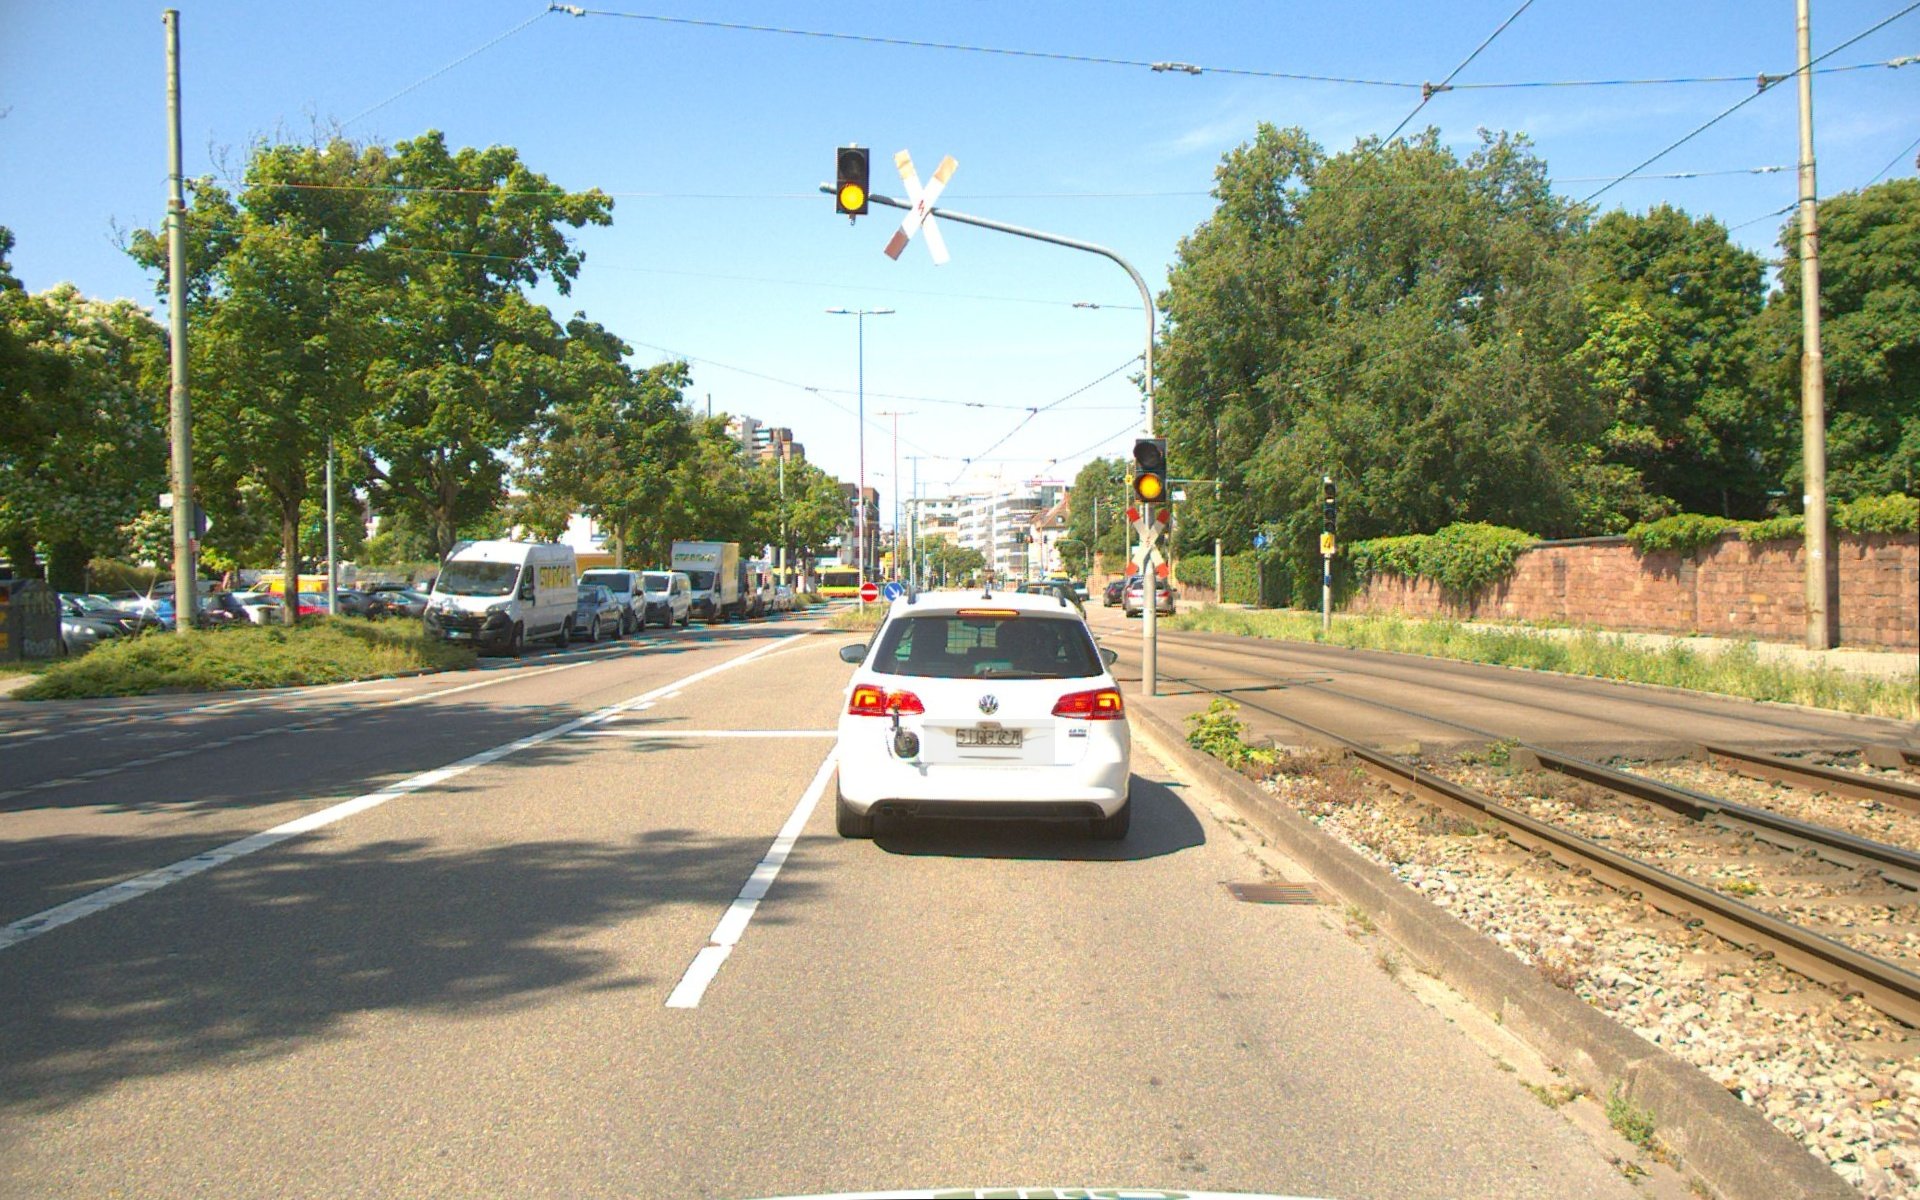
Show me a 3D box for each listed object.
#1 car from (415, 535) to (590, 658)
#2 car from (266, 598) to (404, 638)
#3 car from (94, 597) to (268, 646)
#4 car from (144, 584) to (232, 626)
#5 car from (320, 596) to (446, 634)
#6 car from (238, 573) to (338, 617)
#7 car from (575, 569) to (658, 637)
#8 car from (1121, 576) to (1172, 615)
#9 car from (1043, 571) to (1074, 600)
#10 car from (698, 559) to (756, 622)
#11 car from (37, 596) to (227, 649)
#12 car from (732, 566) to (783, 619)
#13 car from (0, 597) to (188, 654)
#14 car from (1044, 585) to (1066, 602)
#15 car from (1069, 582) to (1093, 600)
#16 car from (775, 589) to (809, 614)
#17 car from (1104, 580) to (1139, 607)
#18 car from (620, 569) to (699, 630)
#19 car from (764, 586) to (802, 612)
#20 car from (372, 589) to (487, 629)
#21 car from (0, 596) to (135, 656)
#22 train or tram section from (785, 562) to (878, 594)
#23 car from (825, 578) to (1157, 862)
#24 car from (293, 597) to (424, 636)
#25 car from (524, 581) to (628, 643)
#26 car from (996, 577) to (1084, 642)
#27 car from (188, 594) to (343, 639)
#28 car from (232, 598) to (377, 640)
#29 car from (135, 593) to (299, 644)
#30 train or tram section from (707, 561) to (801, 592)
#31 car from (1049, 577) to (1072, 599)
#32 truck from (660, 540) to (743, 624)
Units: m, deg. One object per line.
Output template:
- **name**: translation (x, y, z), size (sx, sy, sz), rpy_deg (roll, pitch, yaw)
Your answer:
- **car**: translation (-10.480, -0.119, 38.499), size (2.016, 2.544, 6.309), rpy_deg (2, 1, 2)
- **car**: translation (-20.884, 0.597, 55.334), size (3.904, 1.246, 1.772), rpy_deg (-1, 1, 2)
- **car**: translation (-21.227, 0.576, 45.162), size (3.904, 1.246, 1.772), rpy_deg (-1, 1, 2)
- **car**: translation (-36.281, 0.210, 77.775), size (3.354, 1.909, 1.552), rpy_deg (-1, 0, -2)
- **car**: translation (-20.856, 0.535, 59.848), size (3.904, 1.246, 1.772), rpy_deg (-1, 1, 2)
- **car**: translation (-33.602, -0.258, 82.826), size (4.175, 2.049, 1.997), rpy_deg (2, 0, -6)
- **car**: translation (-10.607, 0.049, 51.415), size (1.807, 1.971, 5.190), rpy_deg (-1, 1, -4)
- **car**: translation (7.412, -0.199, 65.399), size (1.821, 1.441, 4.328), rpy_deg (2, 1, 8)
- **car**: translation (9.042, -1.285, 152.402), size (2.413, 2.542, 5.909), rpy_deg (2, 0, -1)
- **car**: translation (-10.400, -0.431, 74.093), size (1.806, 2.715, 5.003), rpy_deg (-1, 1, 0)
- **car**: translation (-20.935, 0.565, 41.916), size (3.904, 1.246, 1.772), rpy_deg (-1, 1, 2)
- **car**: translation (-10.098, -0.390, 82.869), size (1.806, 2.538, 5.857), rpy_deg (-1, 1, 0)
- **car**: translation (-20.669, 0.593, 39.174), size (3.906, 1.246, 1.771), rpy_deg (-1, 1, -2)
- **car**: translation (9.340, -0.599, 162.480), size (1.953, 1.624, 4.000), rpy_deg (2, 0, 0)
- **car**: translation (9.295, -0.688, 127.092), size (1.549, 1.369, 3.453), rpy_deg (2, 0, -1)
- **car**: translation (-10.404, 0.071, 102.575), size (1.744, 1.458, 4.037), rpy_deg (-1, 1, 0)
- **car**: translation (8.992, -0.360, 92.495), size (1.709, 1.432, 3.914), rpy_deg (2, 1, 2)
- **car**: translation (-10.475, -0.045, 58.038), size (1.806, 1.994, 5.134), rpy_deg (-1, 1, 0)
- **car**: translation (-10.391, -0.077, 97.245), size (1.806, 1.458, 4.037), rpy_deg (-1, 1, 0)
- **car**: translation (-20.805, 0.356, 64.987), size (3.904, 1.469, 1.772), rpy_deg (-1, 1, 2)
- **car**: translation (-20.716, 0.583, 36.667), size (3.906, 1.246, 1.771), rpy_deg (-1, 1, -2)
- **train or tram section**: translation (-14.239, -2.423, 182.474), size (11.037, 3.309, 2.302), rpy_deg (2, 0, 33)
- **car**: translation (0.131, 0.615, 10.758), size (1.732, 1.471, 3.912), rpy_deg (1, 1, -1)
- **car**: translation (-20.962, 0.560, 57.728), size (3.904, 1.246, 1.772), rpy_deg (-1, 1, 2)
- **car**: translation (-10.279, 0.284, 44.563), size (1.806, 1.543, 4.197), rpy_deg (-1, 1, 0)
- **car**: translation (1.934, 0.186, 39.056), size (1.709, 1.412, 3.916), rpy_deg (1, 1, 8)
- **car**: translation (-21.042, 0.493, 50.207), size (3.904, 1.286, 1.772), rpy_deg (-1, 1, 2)
- **car**: translation (-20.925, 0.584, 52.880), size (3.904, 1.246, 1.772), rpy_deg (-1, 1, 2)
- **car**: translation (-21.363, 0.509, 47.643), size (3.904, 1.373, 1.772), rpy_deg (-1, 1, 2)
- **train or tram section**: translation (-23.294, -2.668, 187.053), size (10.550, 3.309, 2.309), rpy_deg (2, 0, 20)
- **car**: translation (8.613, -0.990, 141.767), size (1.656, 1.844, 3.453), rpy_deg (2, 0, -1)
- **truck**: translation (-10.305, -0.727, 66.503), size (2.308, 3.177, 6.890), rpy_deg (-1, 1, -1)
